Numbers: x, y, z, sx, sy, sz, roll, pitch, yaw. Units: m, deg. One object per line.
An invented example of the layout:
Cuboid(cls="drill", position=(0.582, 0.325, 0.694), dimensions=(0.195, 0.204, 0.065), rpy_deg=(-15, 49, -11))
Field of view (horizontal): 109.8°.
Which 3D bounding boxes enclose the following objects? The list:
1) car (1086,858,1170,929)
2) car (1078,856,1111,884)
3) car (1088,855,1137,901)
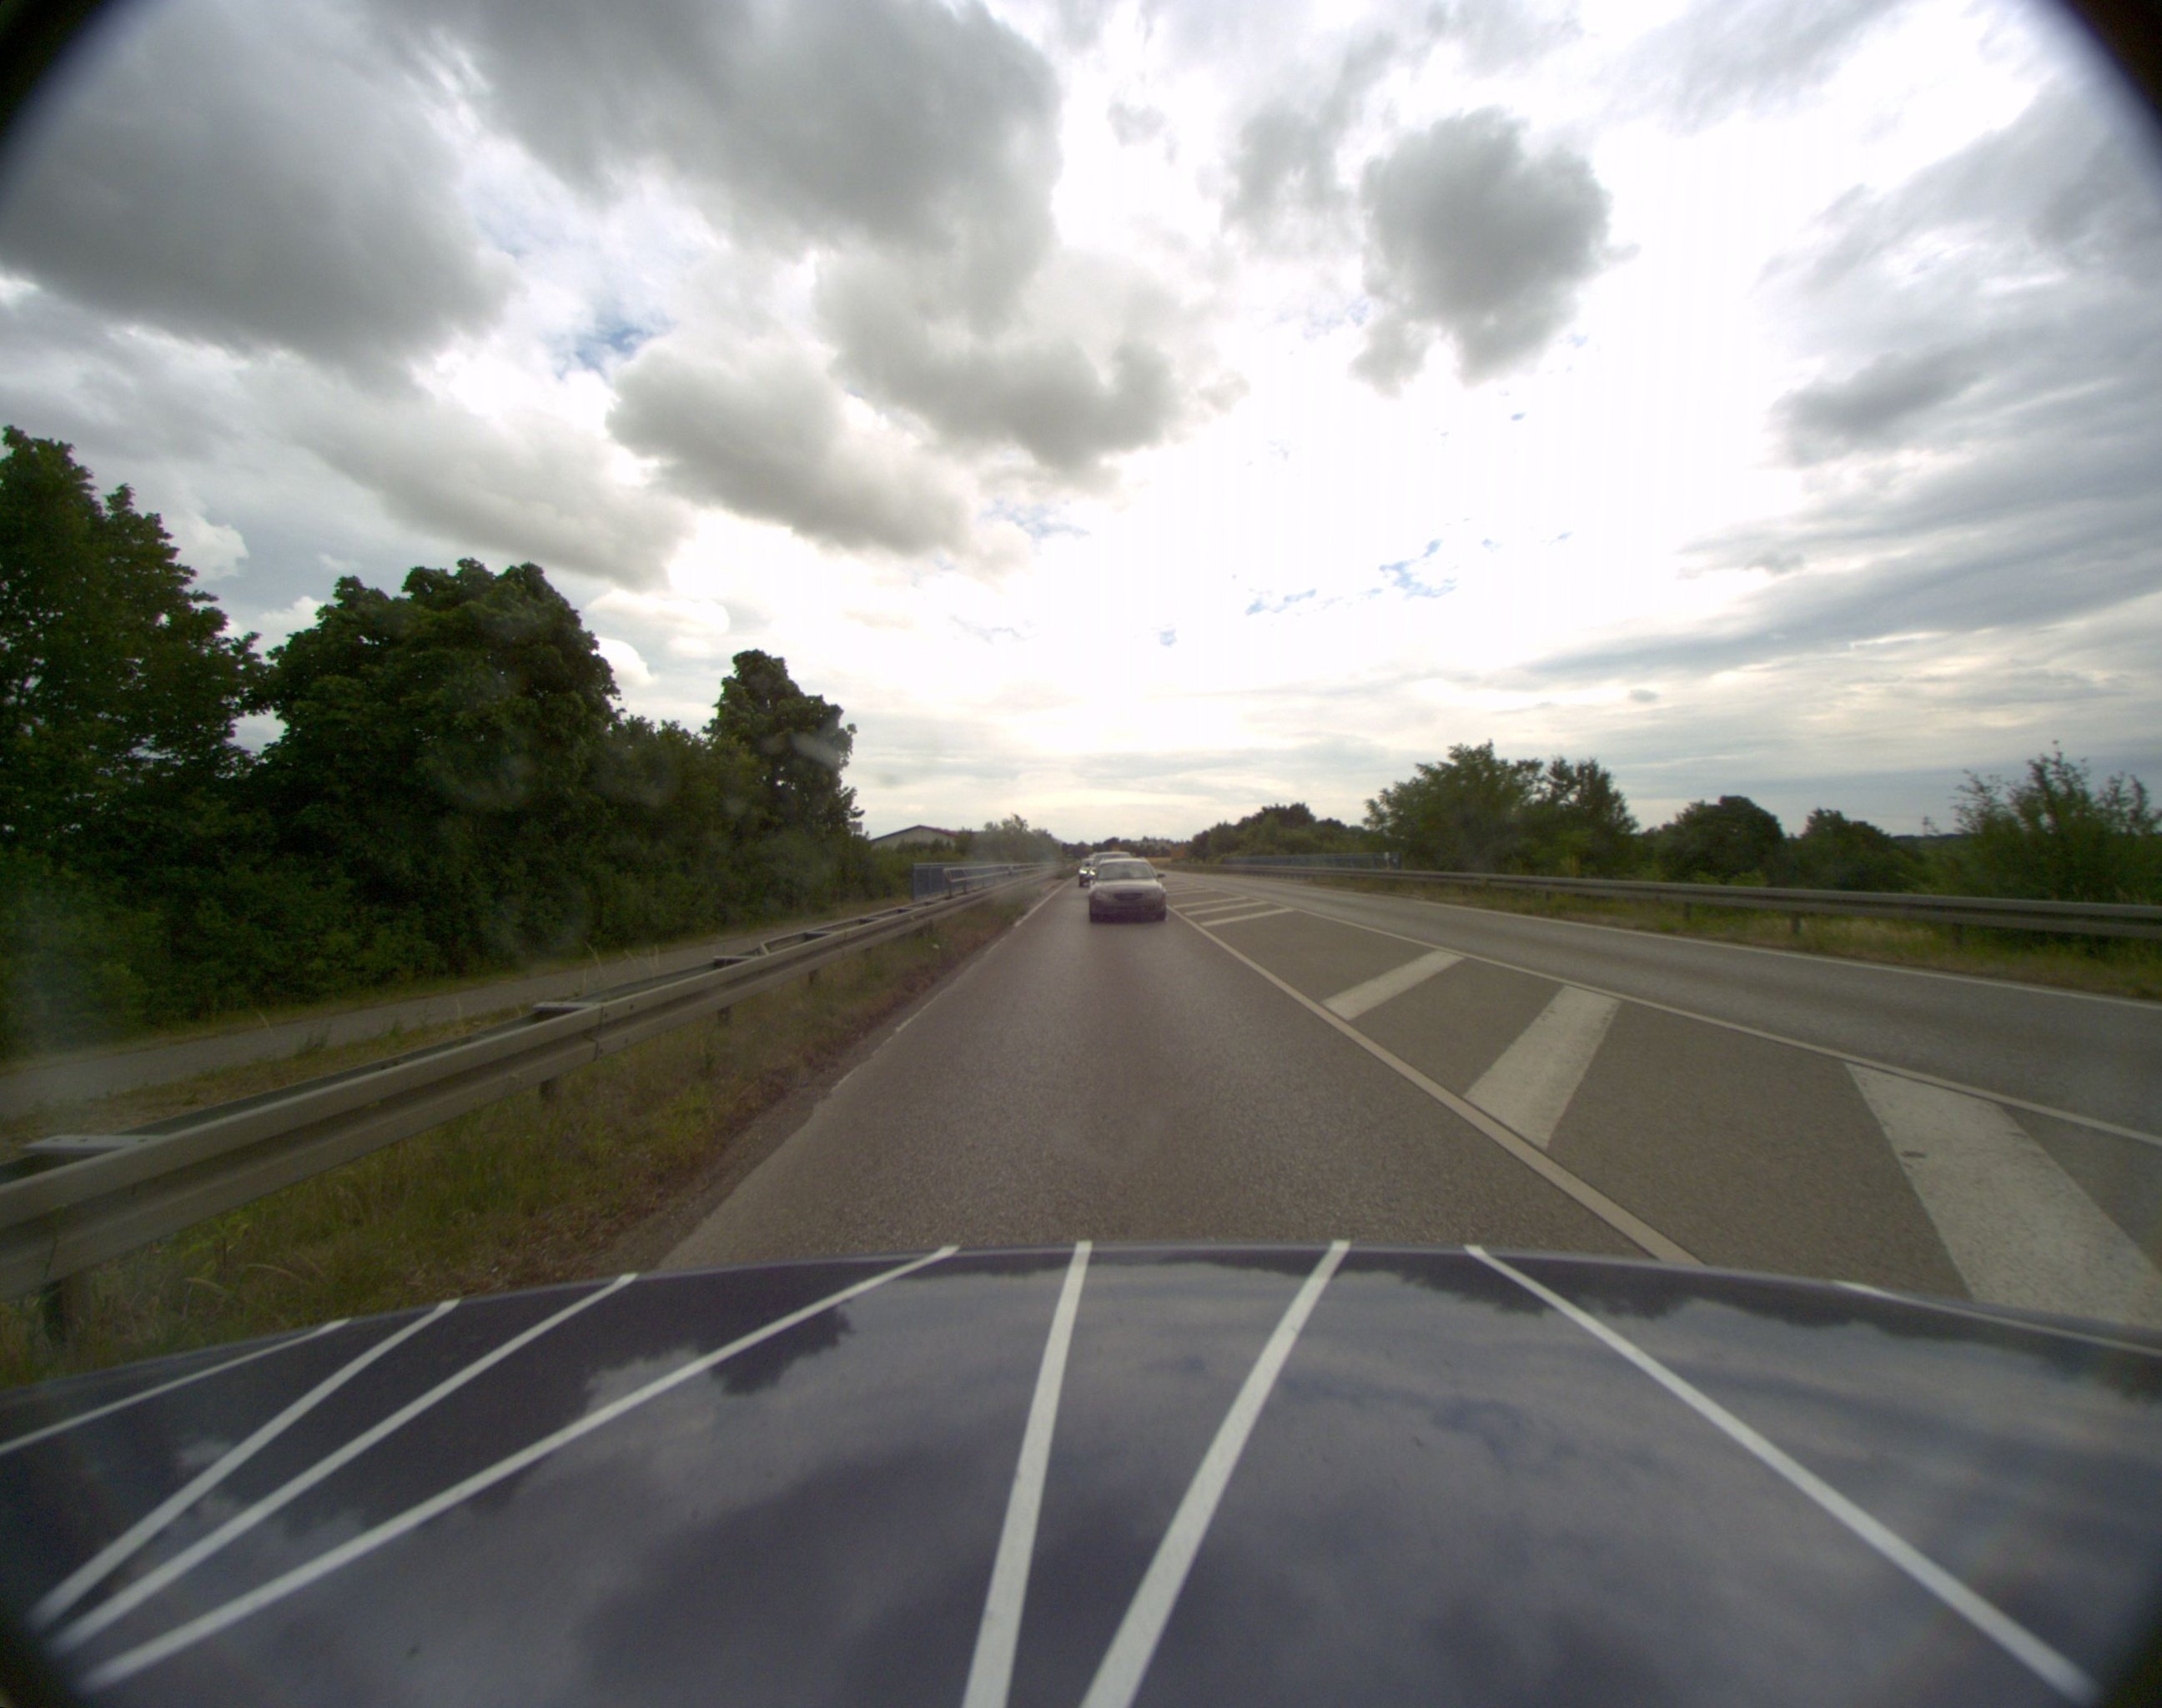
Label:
Cuboid(cls="car", position=(1.044, 0.870, 18.327), dimensions=(1.768, 1.383, 3.876), rpy_deg=(-2, 1, 1))
Cuboid(cls="car", position=(0.719, 0.846, 41.536), dimensions=(1.670, 1.339, 4.000), rpy_deg=(-2, 1, 1))
Cuboid(cls="car", position=(1.147, 0.837, 28.828), dimensions=(1.684, 1.521, 4.000), rpy_deg=(-2, 1, 1))
